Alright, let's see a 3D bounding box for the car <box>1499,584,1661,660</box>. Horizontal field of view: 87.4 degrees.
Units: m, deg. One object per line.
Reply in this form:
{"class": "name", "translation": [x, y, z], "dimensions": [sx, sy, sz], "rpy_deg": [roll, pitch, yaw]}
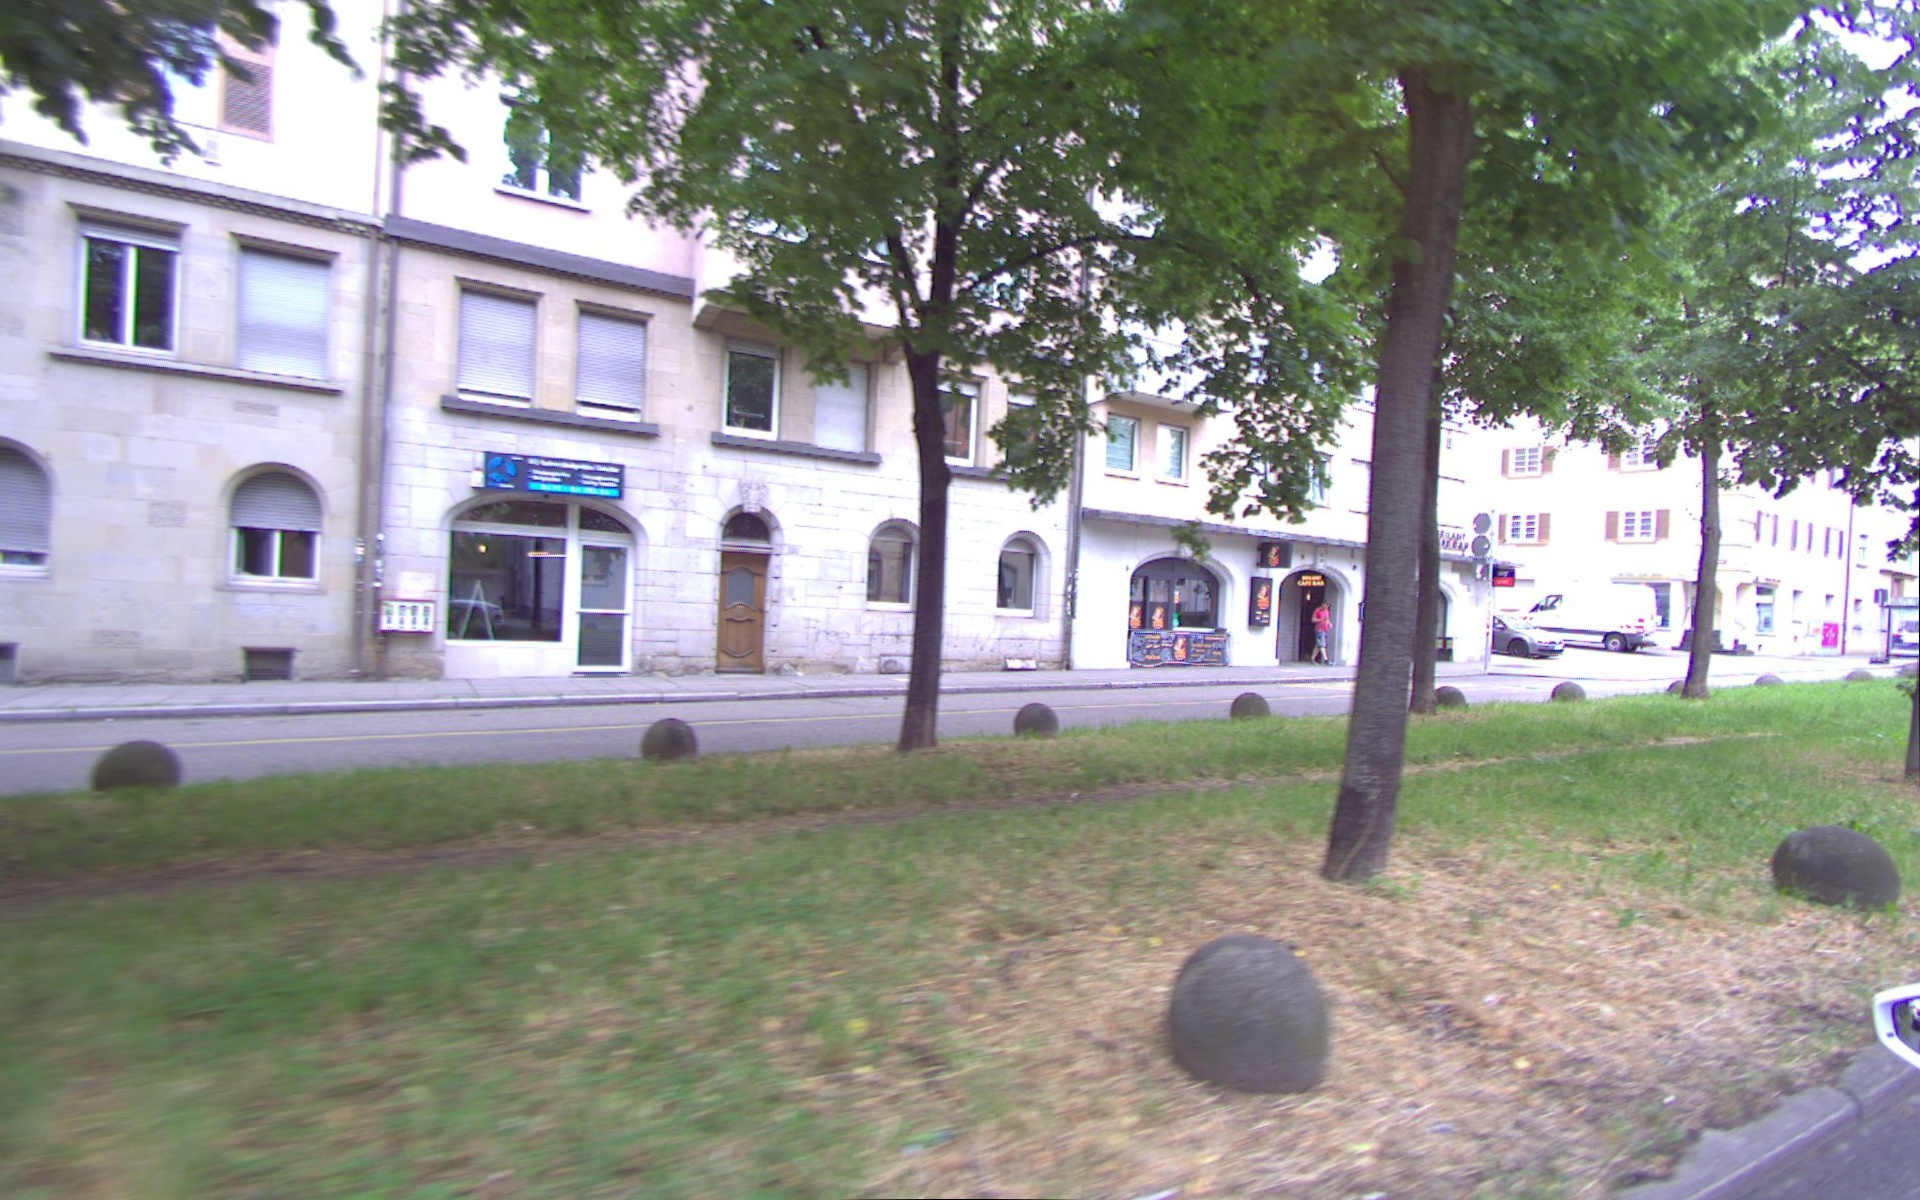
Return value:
{"class": "car", "translation": [25.109, 0.815, 40.854], "dimensions": [2.160, 2.773, 5.128], "rpy_deg": [2, 1, -40]}

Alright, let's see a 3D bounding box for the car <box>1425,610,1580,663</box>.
{"class": "car", "translation": [18.685, 1.206, 34.787], "dimensions": [2.024, 1.439, 4.266], "rpy_deg": [1, 3, -30]}

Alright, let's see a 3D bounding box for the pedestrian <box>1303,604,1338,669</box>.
{"class": "pedestrian", "translation": [9.622, 0.968, 26.808], "dimensions": [0.693, 1.688, 0.529], "rpy_deg": [2, 0, -31]}
